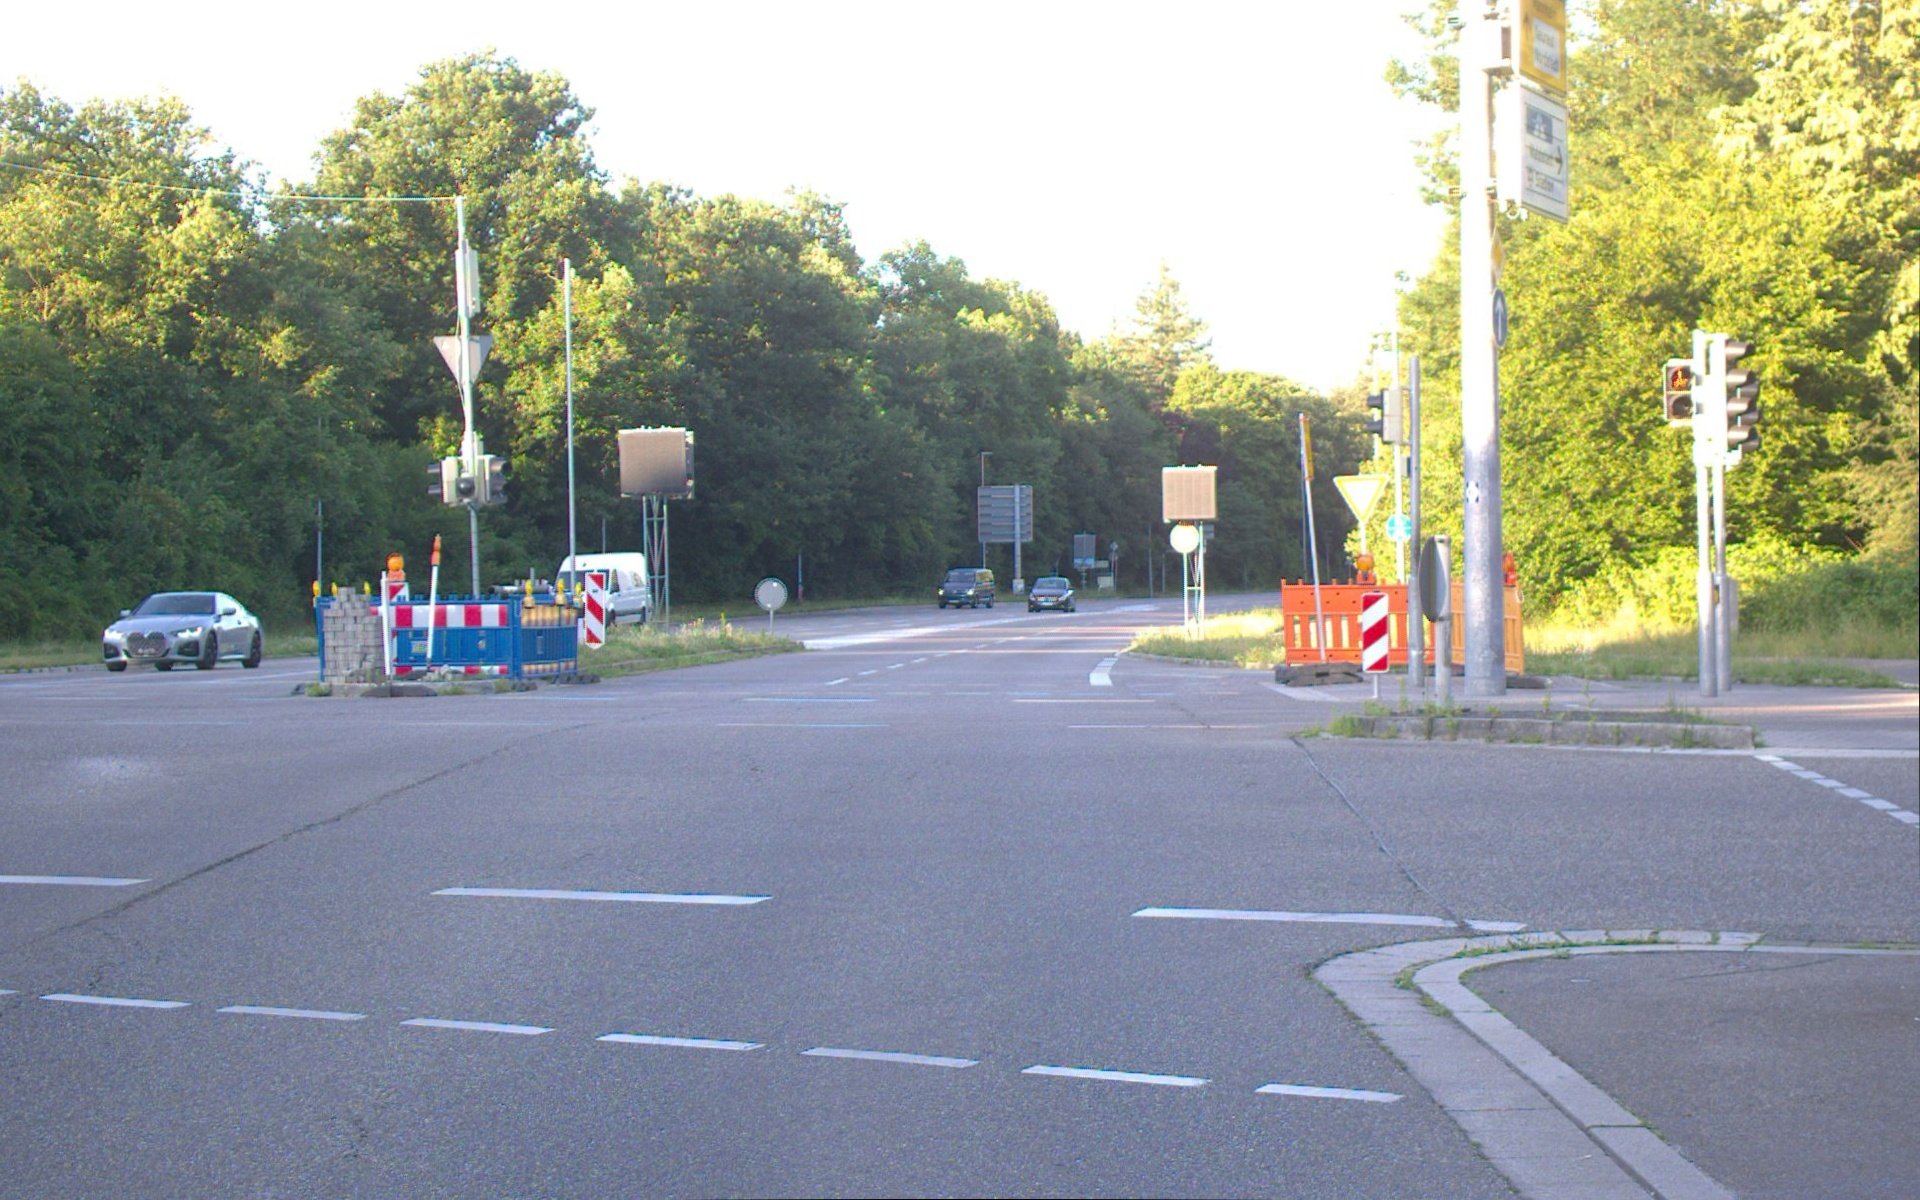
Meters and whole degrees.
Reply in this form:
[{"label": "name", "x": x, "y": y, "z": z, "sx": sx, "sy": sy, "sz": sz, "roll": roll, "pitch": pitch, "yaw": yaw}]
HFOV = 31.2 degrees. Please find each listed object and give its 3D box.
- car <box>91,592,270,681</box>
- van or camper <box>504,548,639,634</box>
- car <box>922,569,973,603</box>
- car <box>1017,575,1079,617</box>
[{"label": "car", "x": -13.729, "y": 0.619, "z": 60.830, "sx": 1.891, "sy": 1.436, "sz": 4.500, "roll": -1, "pitch": 1, "yaw": 3}, {"label": "van or camper", "x": -12.387, "y": -0.334, "z": 110.255, "sx": 2.886, "sy": 2.643, "sz": 7.121, "roll": 0, "pitch": 1, "yaw": 5}, {"label": "car", "x": -0.605, "y": -0.694, "z": 170.231, "sx": 1.994, "sy": 1.634, "sz": 3.999, "roll": 0, "pitch": 1, "yaw": 8}, {"label": "car", "x": 3.894, "y": -0.187, "z": 151.563, "sx": 1.994, "sy": 1.634, "sz": 3.998, "roll": -2, "pitch": 2, "yaw": 12}]
